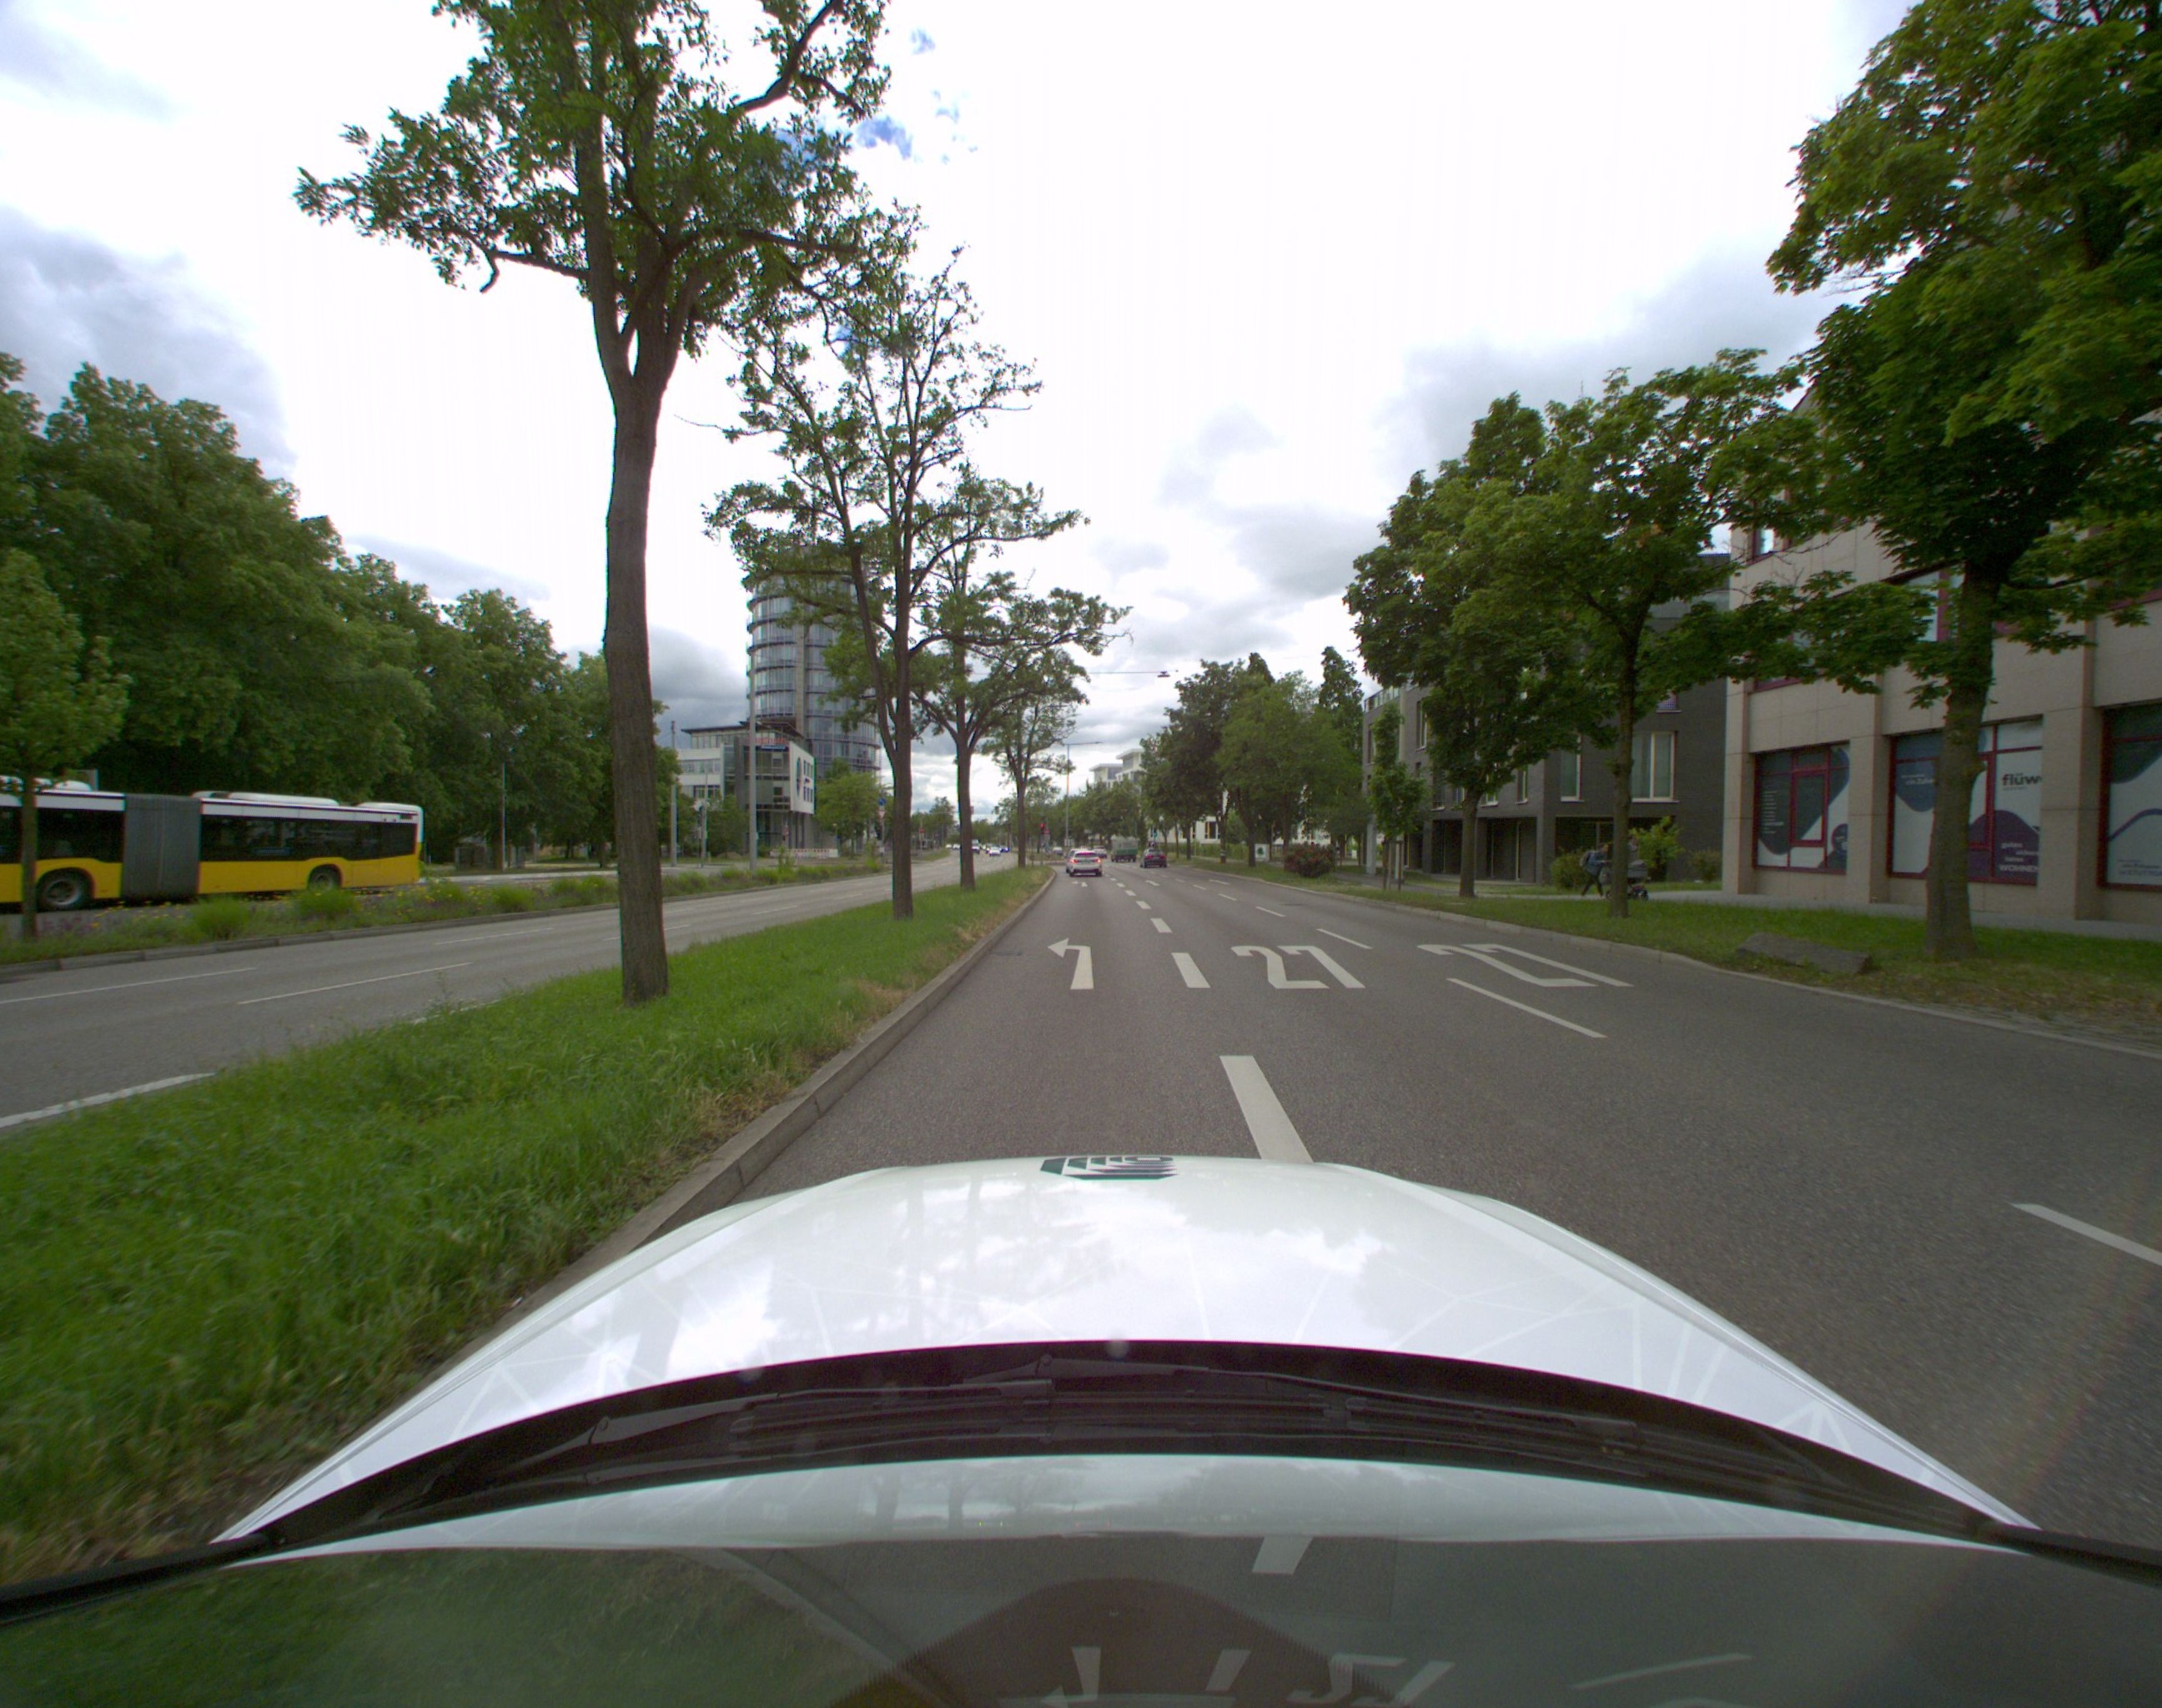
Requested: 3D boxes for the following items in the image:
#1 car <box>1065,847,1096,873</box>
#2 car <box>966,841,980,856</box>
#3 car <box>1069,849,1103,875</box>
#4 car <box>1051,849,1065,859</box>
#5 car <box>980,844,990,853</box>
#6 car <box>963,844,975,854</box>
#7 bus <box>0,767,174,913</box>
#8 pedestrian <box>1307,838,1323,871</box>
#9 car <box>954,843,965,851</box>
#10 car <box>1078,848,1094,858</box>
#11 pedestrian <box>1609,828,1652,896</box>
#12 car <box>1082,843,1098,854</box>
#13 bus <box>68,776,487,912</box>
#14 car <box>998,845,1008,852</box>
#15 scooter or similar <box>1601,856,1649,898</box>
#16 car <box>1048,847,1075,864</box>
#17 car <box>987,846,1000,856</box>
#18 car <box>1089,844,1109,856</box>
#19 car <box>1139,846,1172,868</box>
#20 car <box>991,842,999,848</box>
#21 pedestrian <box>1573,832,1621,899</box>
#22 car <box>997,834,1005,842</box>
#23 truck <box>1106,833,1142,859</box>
[{"bbox_3d":[-0.021,0.391,53.665,1.987,1.672,3.999,0,0,0],"label":"car"},{"bbox_3d":[-19.754,-0.966,149.322,1.989,2.634,5.868,2,0,-3],"label":"car"},{"bbox_3d":[0.322,0.457,46.551,1.856,1.449,4.001,0,0,2],"label":"car"},{"bbox_3d":[-3.479,-0.012,124.161,1.989,1.490,3.995,1,0,-3],"label":"car"},{"bbox_3d":[-23.580,-1.362,200.279,1.989,2.010,4.319,2,0,-4],"label":"car"},{"bbox_3d":[-23.704,-1.046,172.495,1.989,2.010,4.319,2,0,-4],"label":"car"},{"bbox_3d":[-25.109,-0.295,15.588,3.071,3.162,10.746,0,0,3],"label":"bus"},{"bbox_3d":[13.117,0.030,45.578,0.606,1.775,0.954,0,2,0],"label":"pedestrian"},{"bbox_3d":[-28.106,-1.572,188.320,1.989,1.852,4.319,2,0,-4],"label":"car"},{"bbox_3d":[0.737,-0.136,118.504,1.989,1.490,3.995,1,0,-3],"label":"car"},{"bbox_3d":[14.040,0.210,20.824,0.564,1.700,0.830,0,0,4],"label":"pedestrian"},{"bbox_3d":[1.257,-0.739,115.441,1.989,1.508,3.997,0,1,-3],"label":"car"},{"bbox_3d":[-24.455,-0.284,26.056,3.018,3.455,9.922,2,0,4],"label":"bus"},{"bbox_3d":[-15.606,-1.013,162.820,1.748,1.371,3.778,-1,0,-1],"label":"car"},{"bbox_3d":[13.329,0.543,19.978,0.582,0.994,0.845,-1,0,-4],"label":"scooter or similar"},{"bbox_3d":[-1.748,0.100,73.925,1.984,1.508,4.005,0,0,5],"label":"car"},{"bbox_3d":[-13.670,-0.432,127.403,1.749,1.444,4.129,2,0,-4],"label":"car"},{"bbox_3d":[2.241,-0.480,102.845,1.991,1.508,3.992,0,0,-6],"label":"car"},{"bbox_3d":[5.666,0.221,62.339,1.989,1.596,3.996,0,0,-2],"label":"car"},{"bbox_3d":[-24.278,-2.476,229.660,1.988,1.618,3.999,2,0,-1],"label":"car"},{"bbox_3d":[13.229,0.287,20.887,0.554,1.652,0.960,-1,0,-4],"label":"pedestrian"},{"bbox_3d":[-20.833,-4.086,211.739,1.989,2.010,4.319,2,0,-4],"label":"car"},{"bbox_3d":[4.298,-0.748,82.145,2.854,2.519,6.278,0,0,-4],"label":"truck"}]
